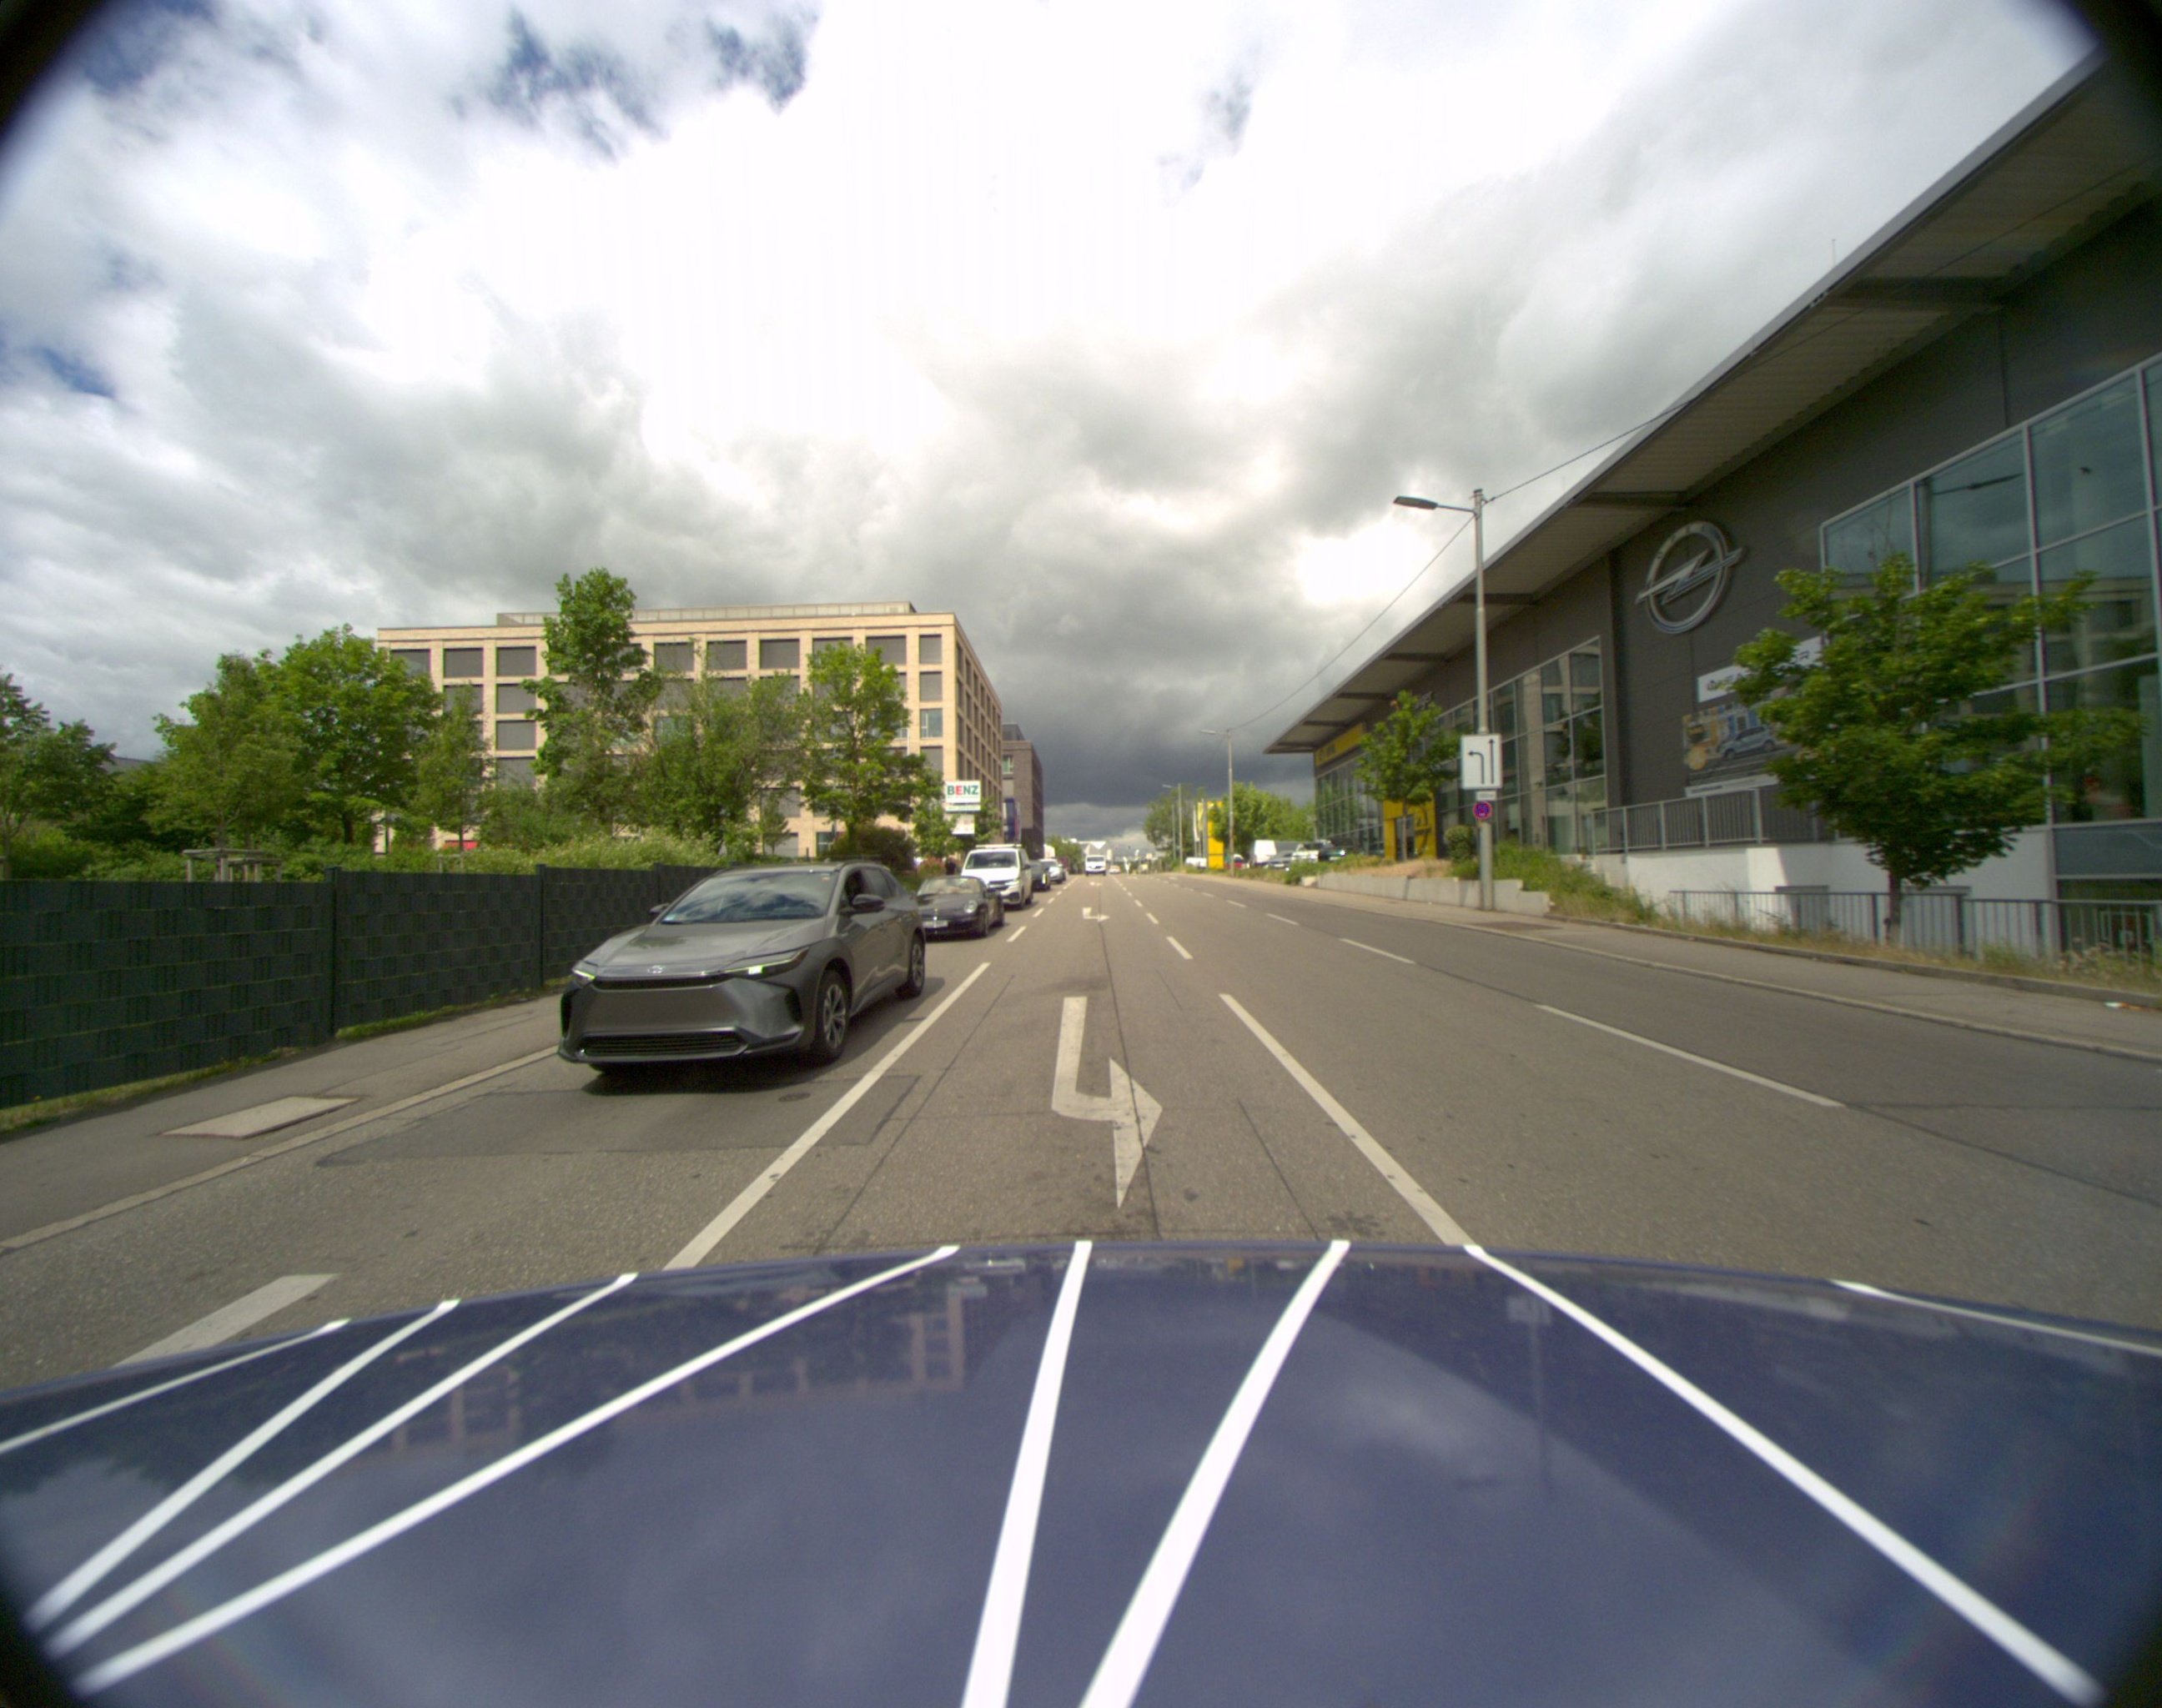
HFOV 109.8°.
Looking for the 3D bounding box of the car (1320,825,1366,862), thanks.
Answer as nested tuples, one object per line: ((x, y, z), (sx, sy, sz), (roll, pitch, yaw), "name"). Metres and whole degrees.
((12.817, -0.495, 37.197), (1.996, 1.718, 4.005), (0, 1, 19), "car")

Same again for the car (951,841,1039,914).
((-2.626, 0.660, 24.387), (2.088, 2.037, 4.760), (-2, 1, 1), "car")

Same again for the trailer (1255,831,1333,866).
((15.272, -0.399, 54.658), (5.074, 2.336, 2.000), (-1, 1, 0), "trailer")

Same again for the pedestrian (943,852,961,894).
((-5.366, 0.783, 31.601), (0.602, 1.710, 0.553), (-1, 1, 2), "pedestrian")

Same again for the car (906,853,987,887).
((-7.108, 0.822, 40.416), (3.998, 1.723, 1.822), (-1, 1, -2), "car")

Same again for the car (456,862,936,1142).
((-2.824, 0.945, 7.004), (1.998, 1.620, 4.580), (-1, 0, 1), "car")

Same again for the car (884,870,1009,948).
((-2.714, 1.075, 16.249), (1.824, 1.286, 4.038), (-2, 0, 1), "car")

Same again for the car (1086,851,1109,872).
((1.537, 0.670, 70.534), (1.998, 1.819, 4.547), (-1, 1, 2), "car")

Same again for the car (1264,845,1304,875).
((12.715, 0.347, 47.453), (1.995, 1.783, 4.006), (-1, 1, 21), "car")

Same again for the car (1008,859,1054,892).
((-2.343, 0.987, 36.466), (1.818, 1.454, 4.000), (-1, 1, 1), "car")

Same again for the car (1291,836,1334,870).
((12.848, -0.090, 41.972), (1.995, 1.783, 4.006), (0, 1, 21), "car")

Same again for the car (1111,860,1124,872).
((6.060, 1.981, 125.652), (1.998, 1.731, 4.547), (-2, 1, 1), "car")

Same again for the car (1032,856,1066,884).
((-1.920, 0.945, 47.196), (1.818, 1.577, 4.000), (-1, 1, 1), "car")
